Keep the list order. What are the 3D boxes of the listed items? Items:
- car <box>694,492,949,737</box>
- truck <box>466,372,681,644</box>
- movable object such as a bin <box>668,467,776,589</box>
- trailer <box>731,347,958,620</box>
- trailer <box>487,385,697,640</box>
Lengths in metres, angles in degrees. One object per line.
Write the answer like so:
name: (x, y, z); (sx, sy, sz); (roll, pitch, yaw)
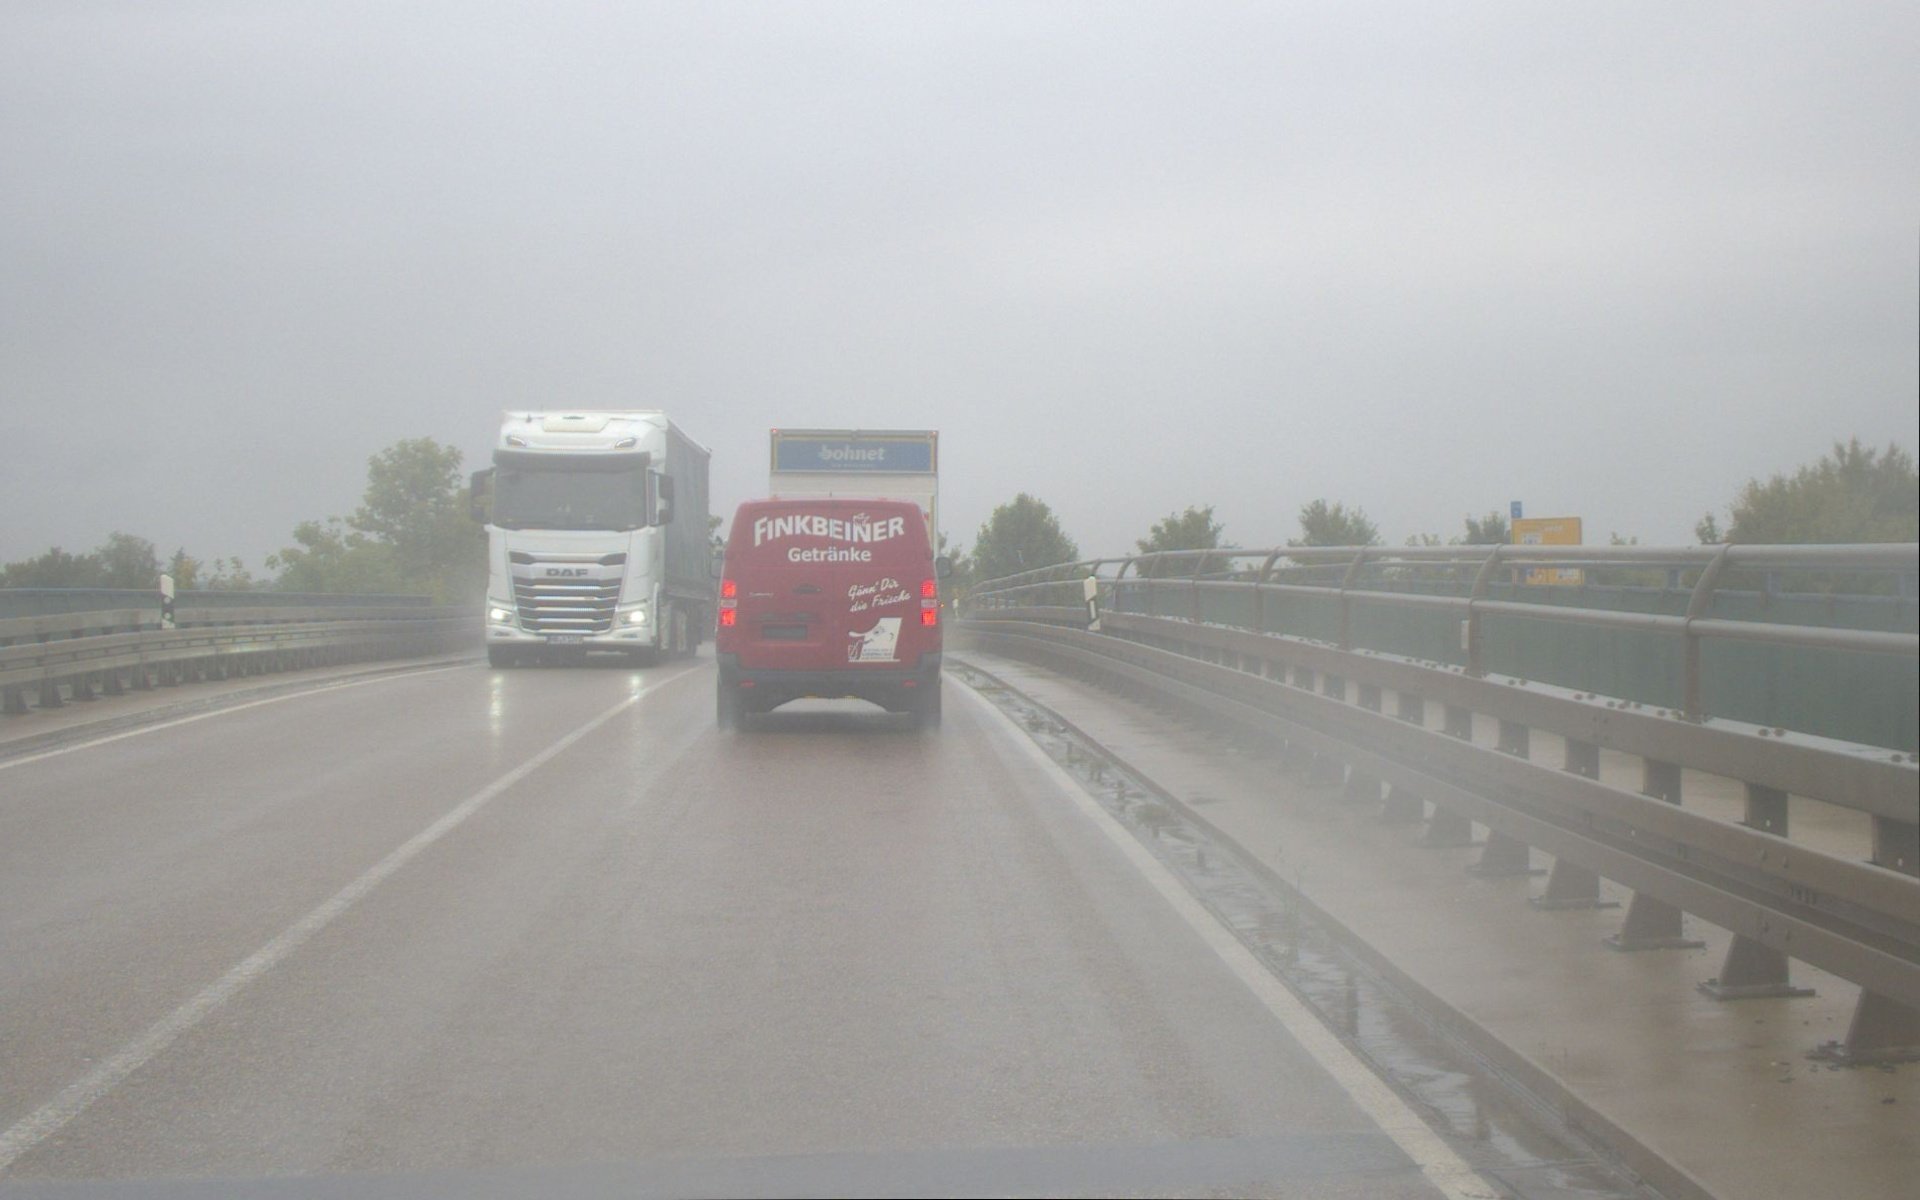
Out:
car: (-1.192, 0.063, 29.391); (1.993, 1.919, 4.144); (1, 1, -3)
truck: (-6.001, -1.400, 54.609); (2.817, 3.956, 8.765); (0, 1, -3)
movable object such as a bin: (-6.853, -2.047, 99.590); (2.748, 3.433, 4.643); (0, 0, 0)
trailer: (-1.746, -1.751, 55.569); (3.201, 3.908, 8.740); (3, 0, 0)
trailer: (-6.247, -1.450, 60.375); (2.817, 3.956, 13.738); (0, 1, -3)
